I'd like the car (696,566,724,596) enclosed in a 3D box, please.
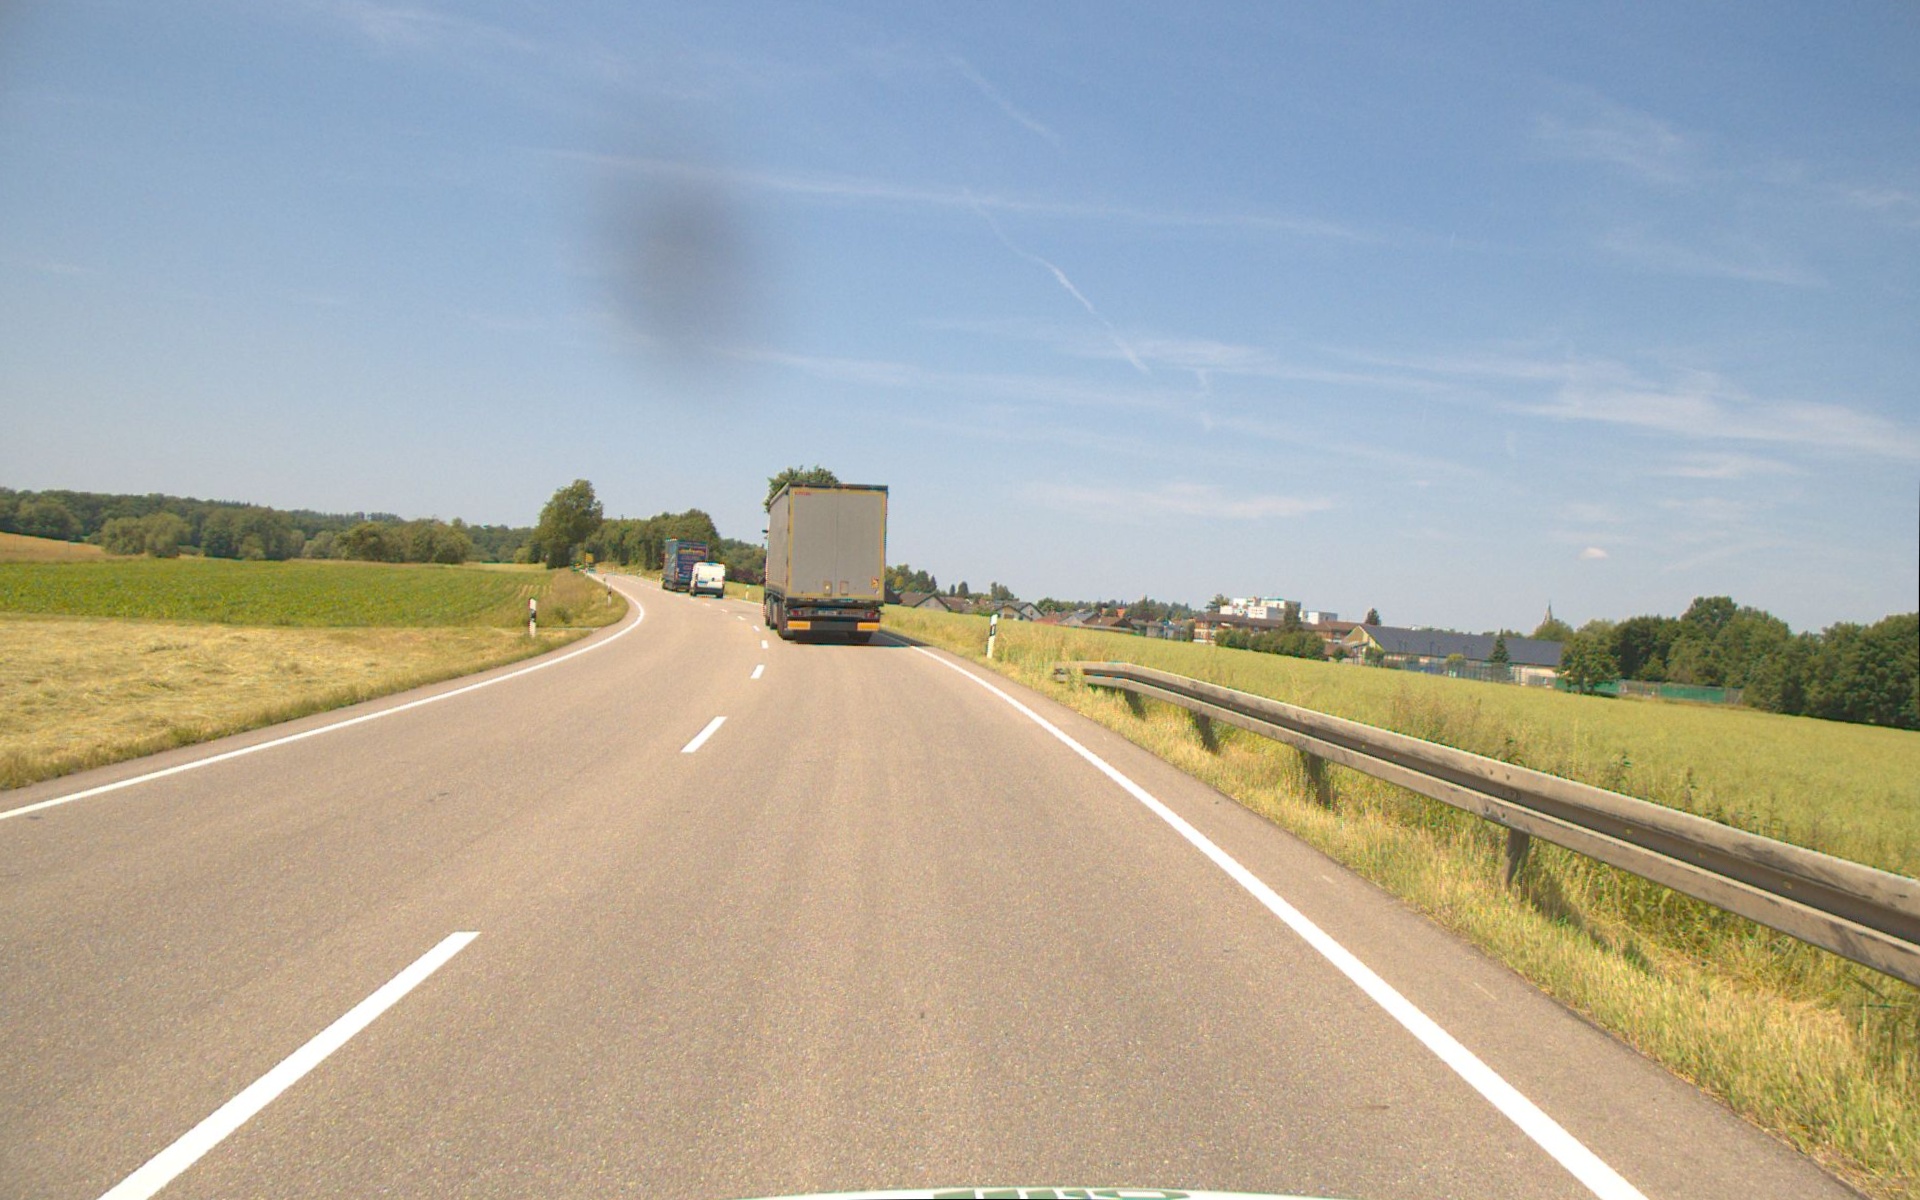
[{"bbox_3d":[-16.871,-1.277,111.784,1.692,1.905,3.995,2,0,-6],"label":"car"}]

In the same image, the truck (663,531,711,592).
[{"bbox_3d":[-22.452,-3.093,136.096,3.484,4.468,18.081,3,0,-9],"label":"truck"}]

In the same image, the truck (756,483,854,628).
[{"bbox_3d":[-5.178,-1.427,54.654,2.806,4.477,5.061,2,0,-9],"label":"truck"}]

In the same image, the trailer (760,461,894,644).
[{"bbox_3d":[-4.100,-1.293,47.771,2.814,4.477,13.467,1,1,-9],"label":"trailer"}]
